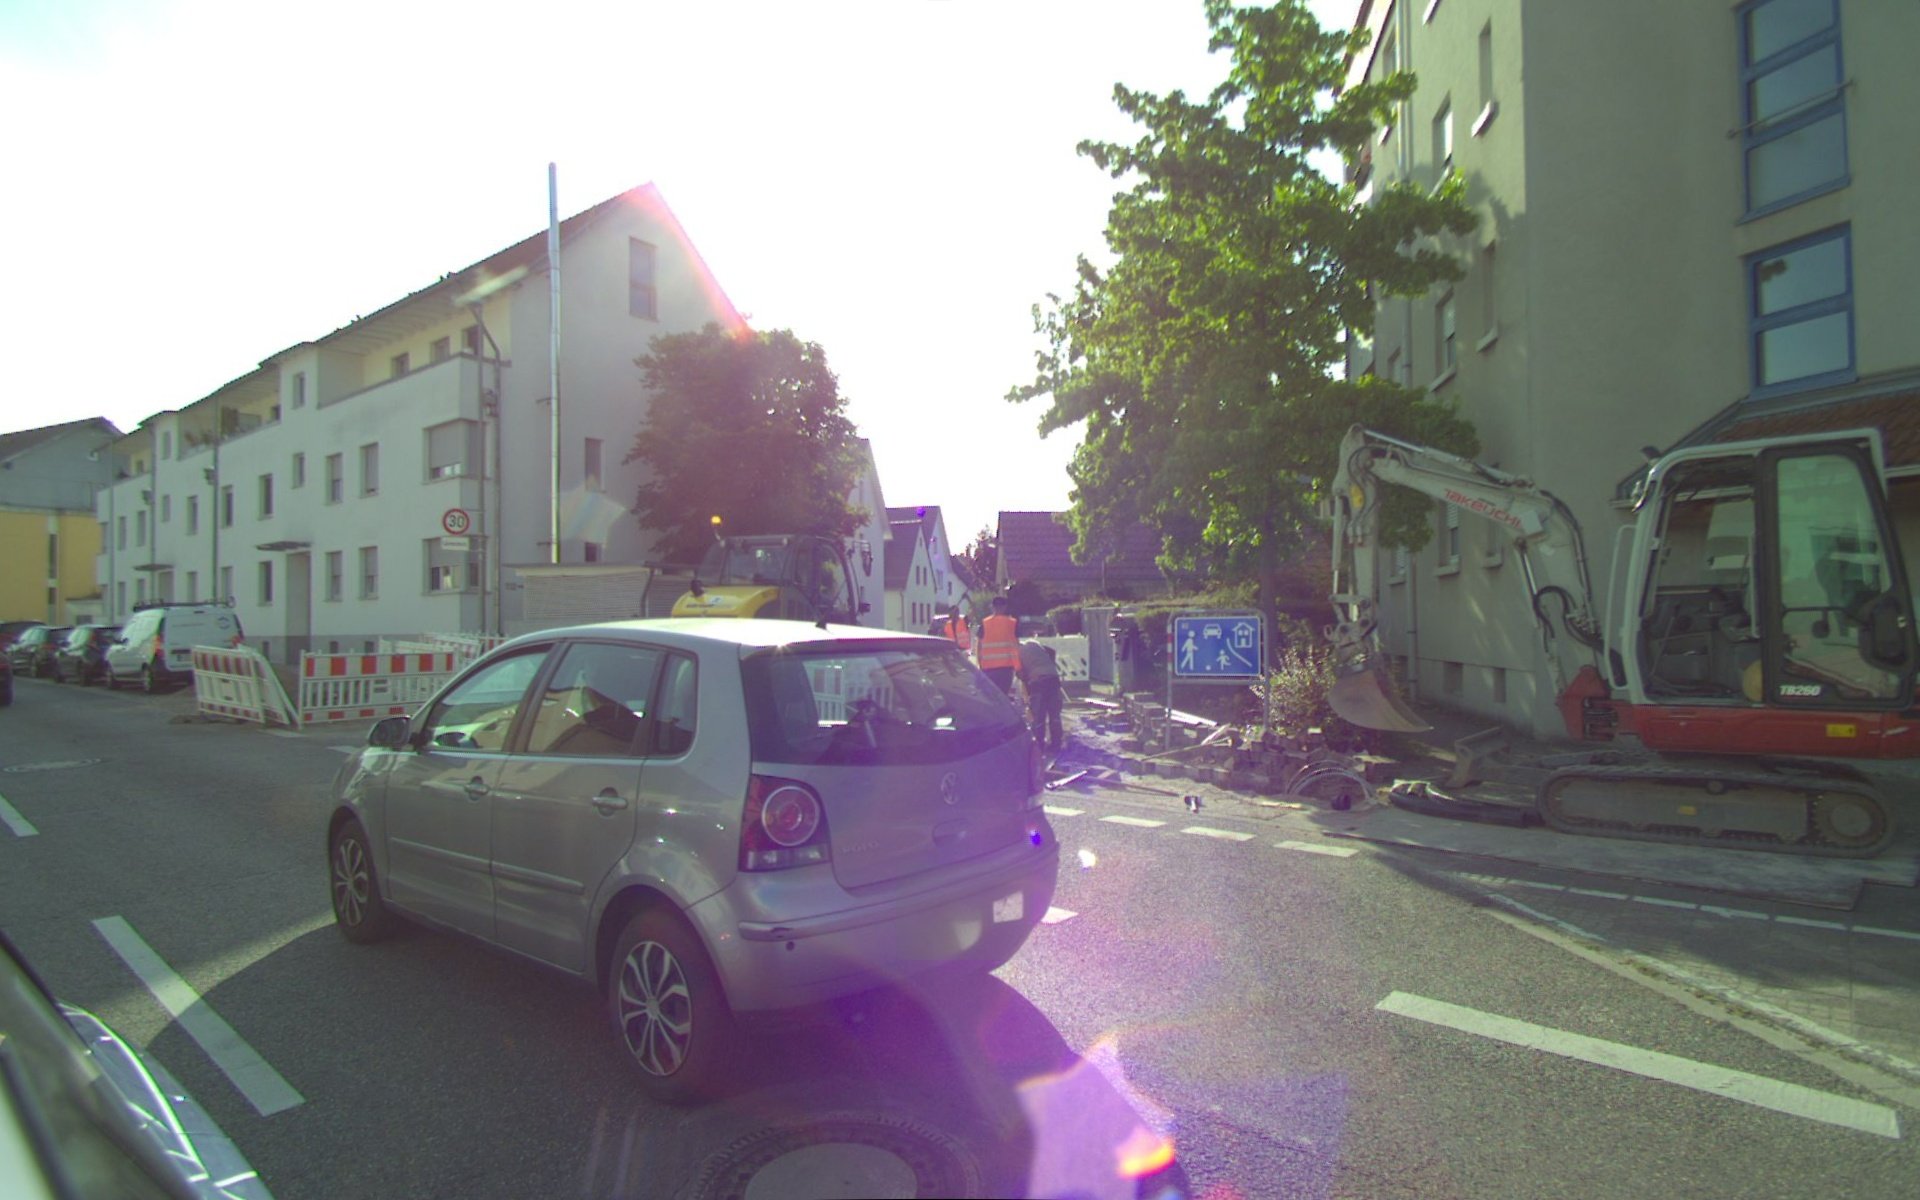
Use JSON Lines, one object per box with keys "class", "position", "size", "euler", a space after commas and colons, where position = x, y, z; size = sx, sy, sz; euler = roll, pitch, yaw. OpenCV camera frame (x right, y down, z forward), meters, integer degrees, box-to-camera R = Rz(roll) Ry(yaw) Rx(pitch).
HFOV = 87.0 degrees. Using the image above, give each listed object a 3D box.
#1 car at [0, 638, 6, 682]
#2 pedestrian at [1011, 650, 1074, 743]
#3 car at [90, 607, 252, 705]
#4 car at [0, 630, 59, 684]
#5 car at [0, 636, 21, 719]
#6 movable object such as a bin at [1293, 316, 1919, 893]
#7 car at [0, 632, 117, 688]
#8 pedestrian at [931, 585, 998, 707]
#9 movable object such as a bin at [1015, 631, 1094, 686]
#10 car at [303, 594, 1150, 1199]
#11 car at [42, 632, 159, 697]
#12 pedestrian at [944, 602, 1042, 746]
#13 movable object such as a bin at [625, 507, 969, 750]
{"class": "car", "position": [-35.042, 2.109, 35.210], "size": [4.489, 1.489, 1.713], "euler": [-2, -1, 33]}
{"class": "pedestrian", "position": [1.033, 1.191, 12.691], "size": [0.597, 1.108, 0.494], "euler": [-2, -2, 42]}
{"class": "car", "position": [-17.491, 1.213, 22.372], "size": [4.430, 1.975, 1.711], "euler": [-2, -2, 37]}
{"class": "car", "position": [-30.655, 1.799, 32.419], "size": [4.252, 1.634, 1.713], "euler": [-2, -1, 34]}
{"class": "car", "position": [-18.629, 1.371, 18.230], "size": [4.202, 1.431, 1.812], "euler": [-2, -3, 38]}
{"class": "movable object such as a bin", "position": [4.608, 0.091, 7.170], "size": [3.897, 3.162, 1.631], "euler": [-3, -4, 40]}
{"class": "car", "position": [-25.962, 1.719, 28.937], "size": [4.252, 1.489, 1.713], "euler": [-3, -3, 34]}
{"class": "pedestrian", "position": [0.069, 0.775, 17.402], "size": [0.755, 2.034, 0.895], "euler": [1, -2, -37]}
{"class": "movable object such as a bin", "position": [2.553, 1.578, 27.759], "size": [1.971, 1.430, 1.416], "euler": [0, 0, -2]}
{"class": "car", "position": [-1.223, 0.799, 4.275], "size": [3.682, 1.466, 1.601], "euler": [-2, -3, 41]}
{"class": "car", "position": [-21.261, 1.565, 24.992], "size": [3.507, 1.476, 1.479], "euler": [-2, -2, 37]}
{"class": "pedestrian", "position": [0.400, 0.877, 12.367], "size": [0.993, 1.677, 0.661], "euler": [-2, -2, 42]}
{"class": "movable object such as a bin", "position": [-2.115, 0.413, 15.068], "size": [2.103, 2.923, 5.460], "euler": [-2, -2, 29]}
